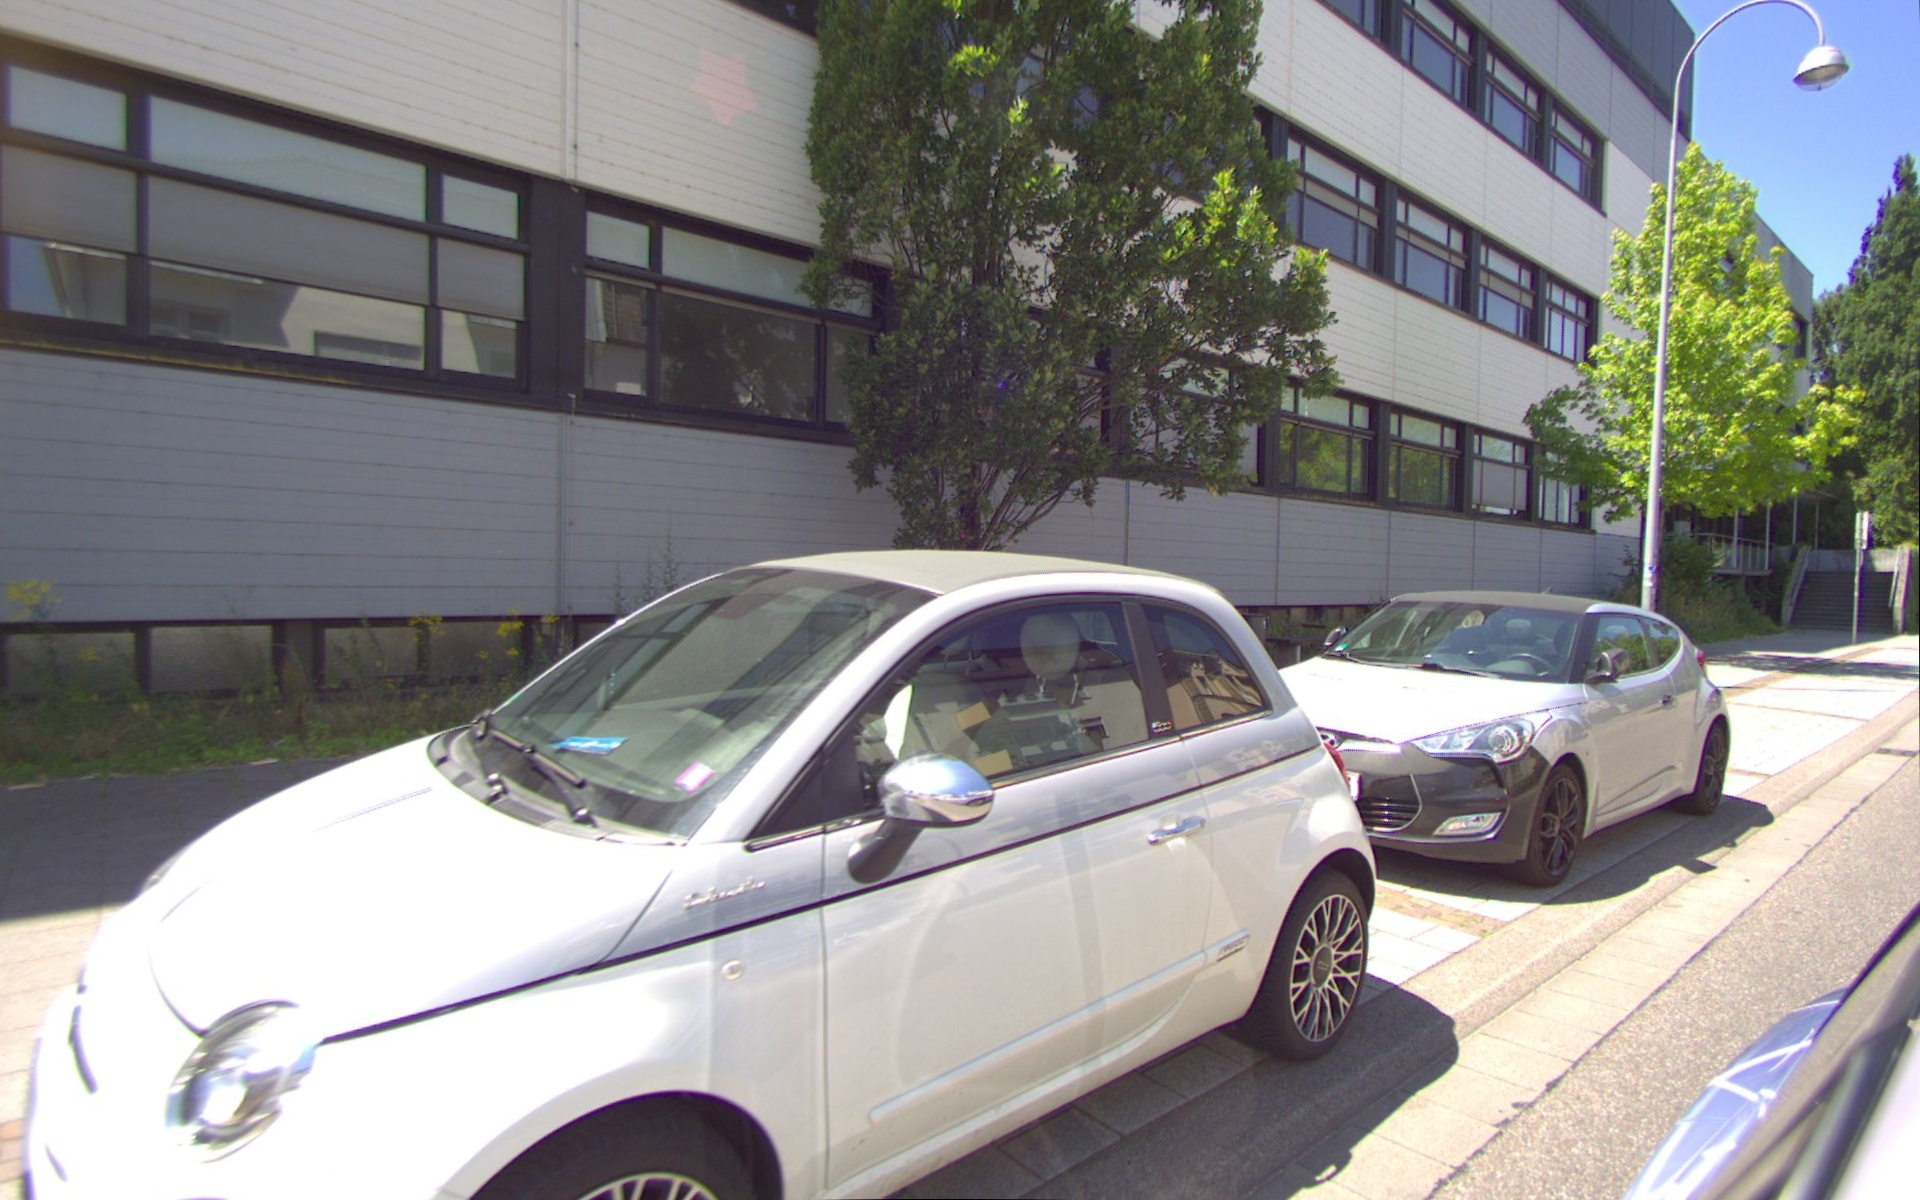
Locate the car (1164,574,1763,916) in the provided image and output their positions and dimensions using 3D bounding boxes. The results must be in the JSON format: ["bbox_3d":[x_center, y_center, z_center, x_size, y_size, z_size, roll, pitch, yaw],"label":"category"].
[{"bbox_3d":[3.256,0.588,6.235,3.929,1.382,1.842,0,3,-40],"label":"car"}]

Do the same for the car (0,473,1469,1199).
[{"bbox_3d":[-0.316,0.572,2.792,3.809,1.516,1.714,0,3,-41],"label":"car"}]
